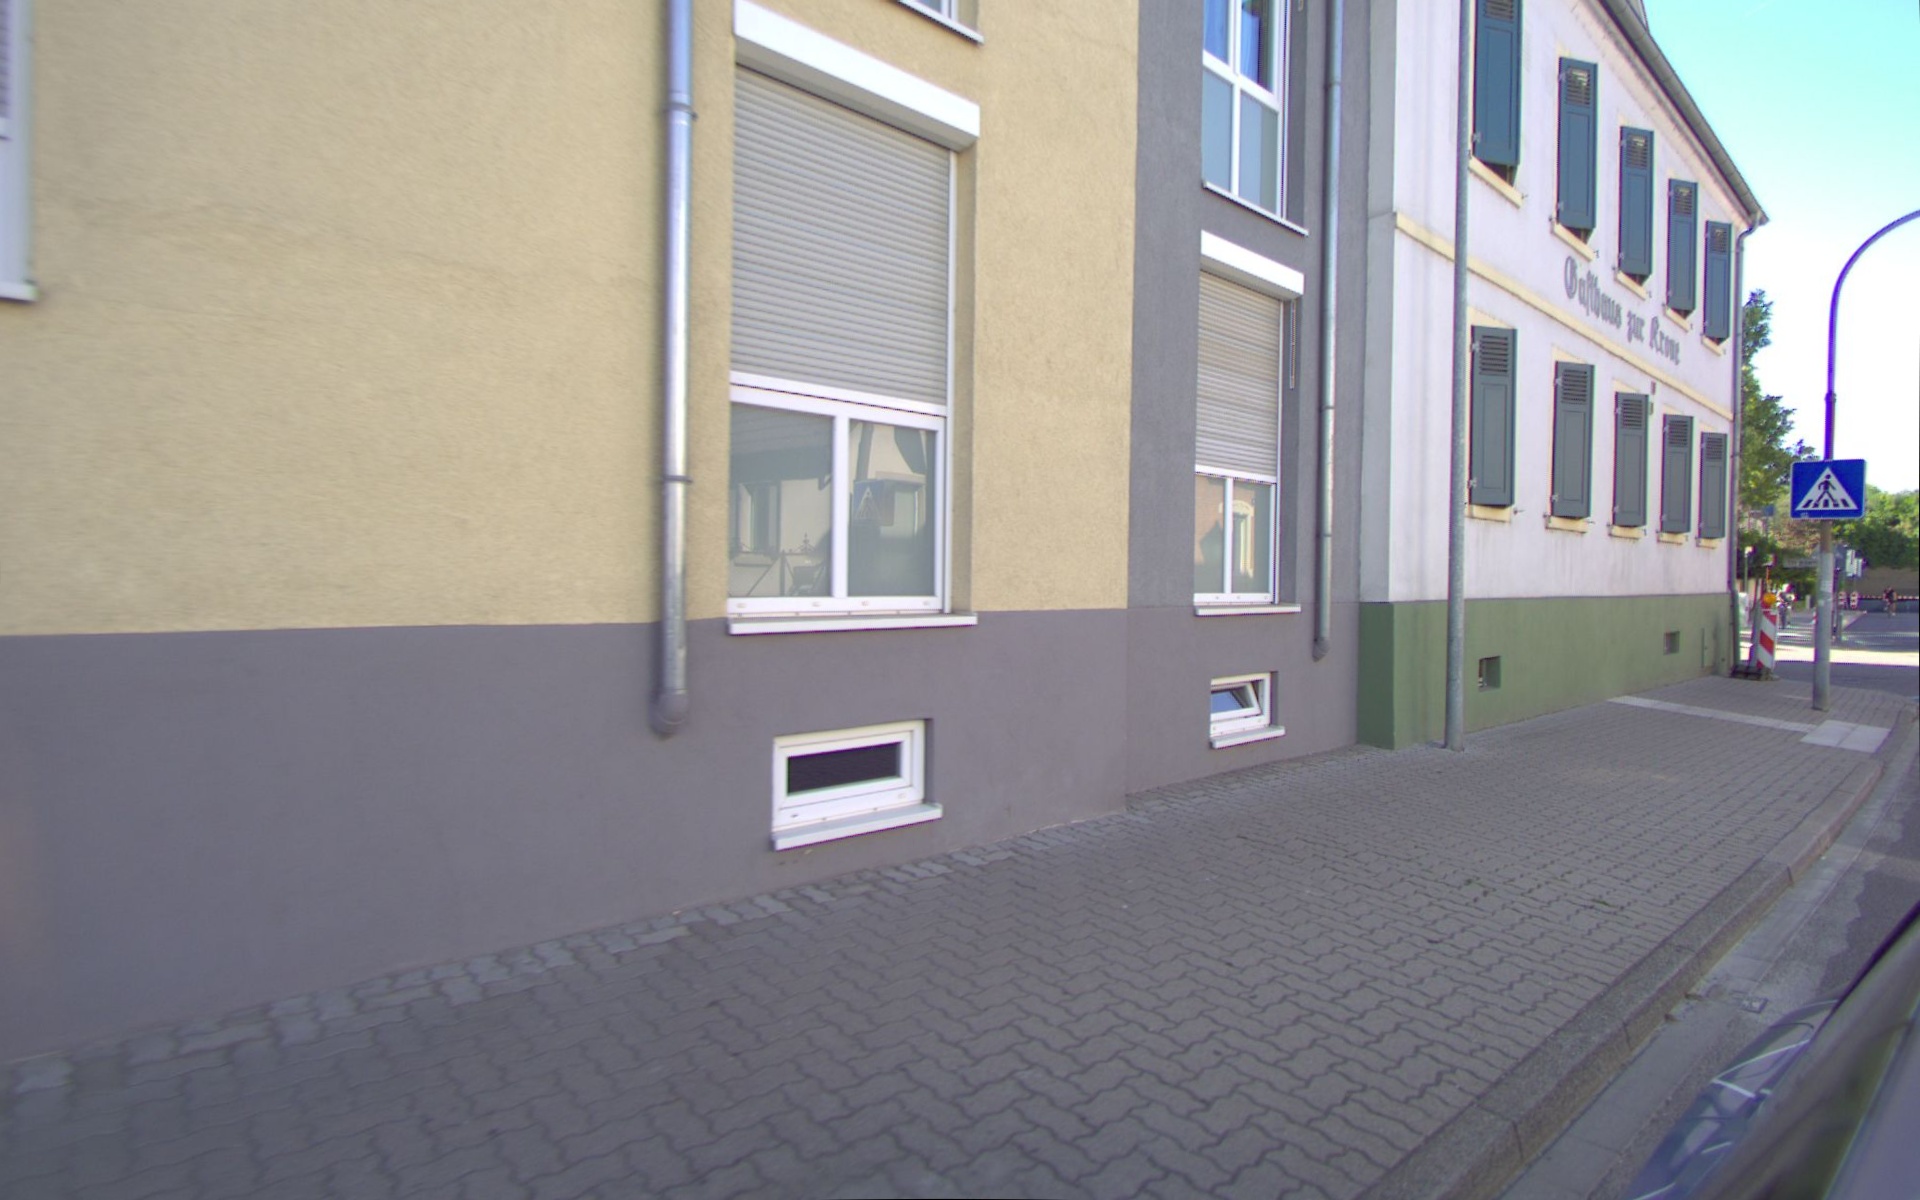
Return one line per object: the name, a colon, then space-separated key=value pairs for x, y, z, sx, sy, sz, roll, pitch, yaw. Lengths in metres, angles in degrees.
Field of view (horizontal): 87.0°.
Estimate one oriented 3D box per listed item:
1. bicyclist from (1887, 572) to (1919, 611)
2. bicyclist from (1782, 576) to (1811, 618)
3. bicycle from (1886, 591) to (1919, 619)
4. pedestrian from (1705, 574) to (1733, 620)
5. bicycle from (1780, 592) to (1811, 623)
bicyclist: x=56.734 y=-0.520 z=60.899 sx=1.222 sy=2.337 sz=1.255 roll=-1 pitch=-1 yaw=-43
bicyclist: x=32.632 y=-0.129 z=39.460 sx=0.899 sy=1.557 sz=0.668 roll=-1 pitch=5 yaw=-44
bicycle: x=56.698 y=0.304 z=60.836 sx=3.934 sy=1.571 sz=1.254 roll=-1 pitch=0 yaw=-44
pedestrian: x=28.736 y=-0.119 z=38.299 sx=0.812 sy=1.738 sz=0.660 roll=-1 pitch=1 yaw=-39
bicycle: x=32.592 y=0.284 z=39.463 sx=1.787 sy=1.076 sz=0.668 roll=-1 pitch=5 yaw=-44
